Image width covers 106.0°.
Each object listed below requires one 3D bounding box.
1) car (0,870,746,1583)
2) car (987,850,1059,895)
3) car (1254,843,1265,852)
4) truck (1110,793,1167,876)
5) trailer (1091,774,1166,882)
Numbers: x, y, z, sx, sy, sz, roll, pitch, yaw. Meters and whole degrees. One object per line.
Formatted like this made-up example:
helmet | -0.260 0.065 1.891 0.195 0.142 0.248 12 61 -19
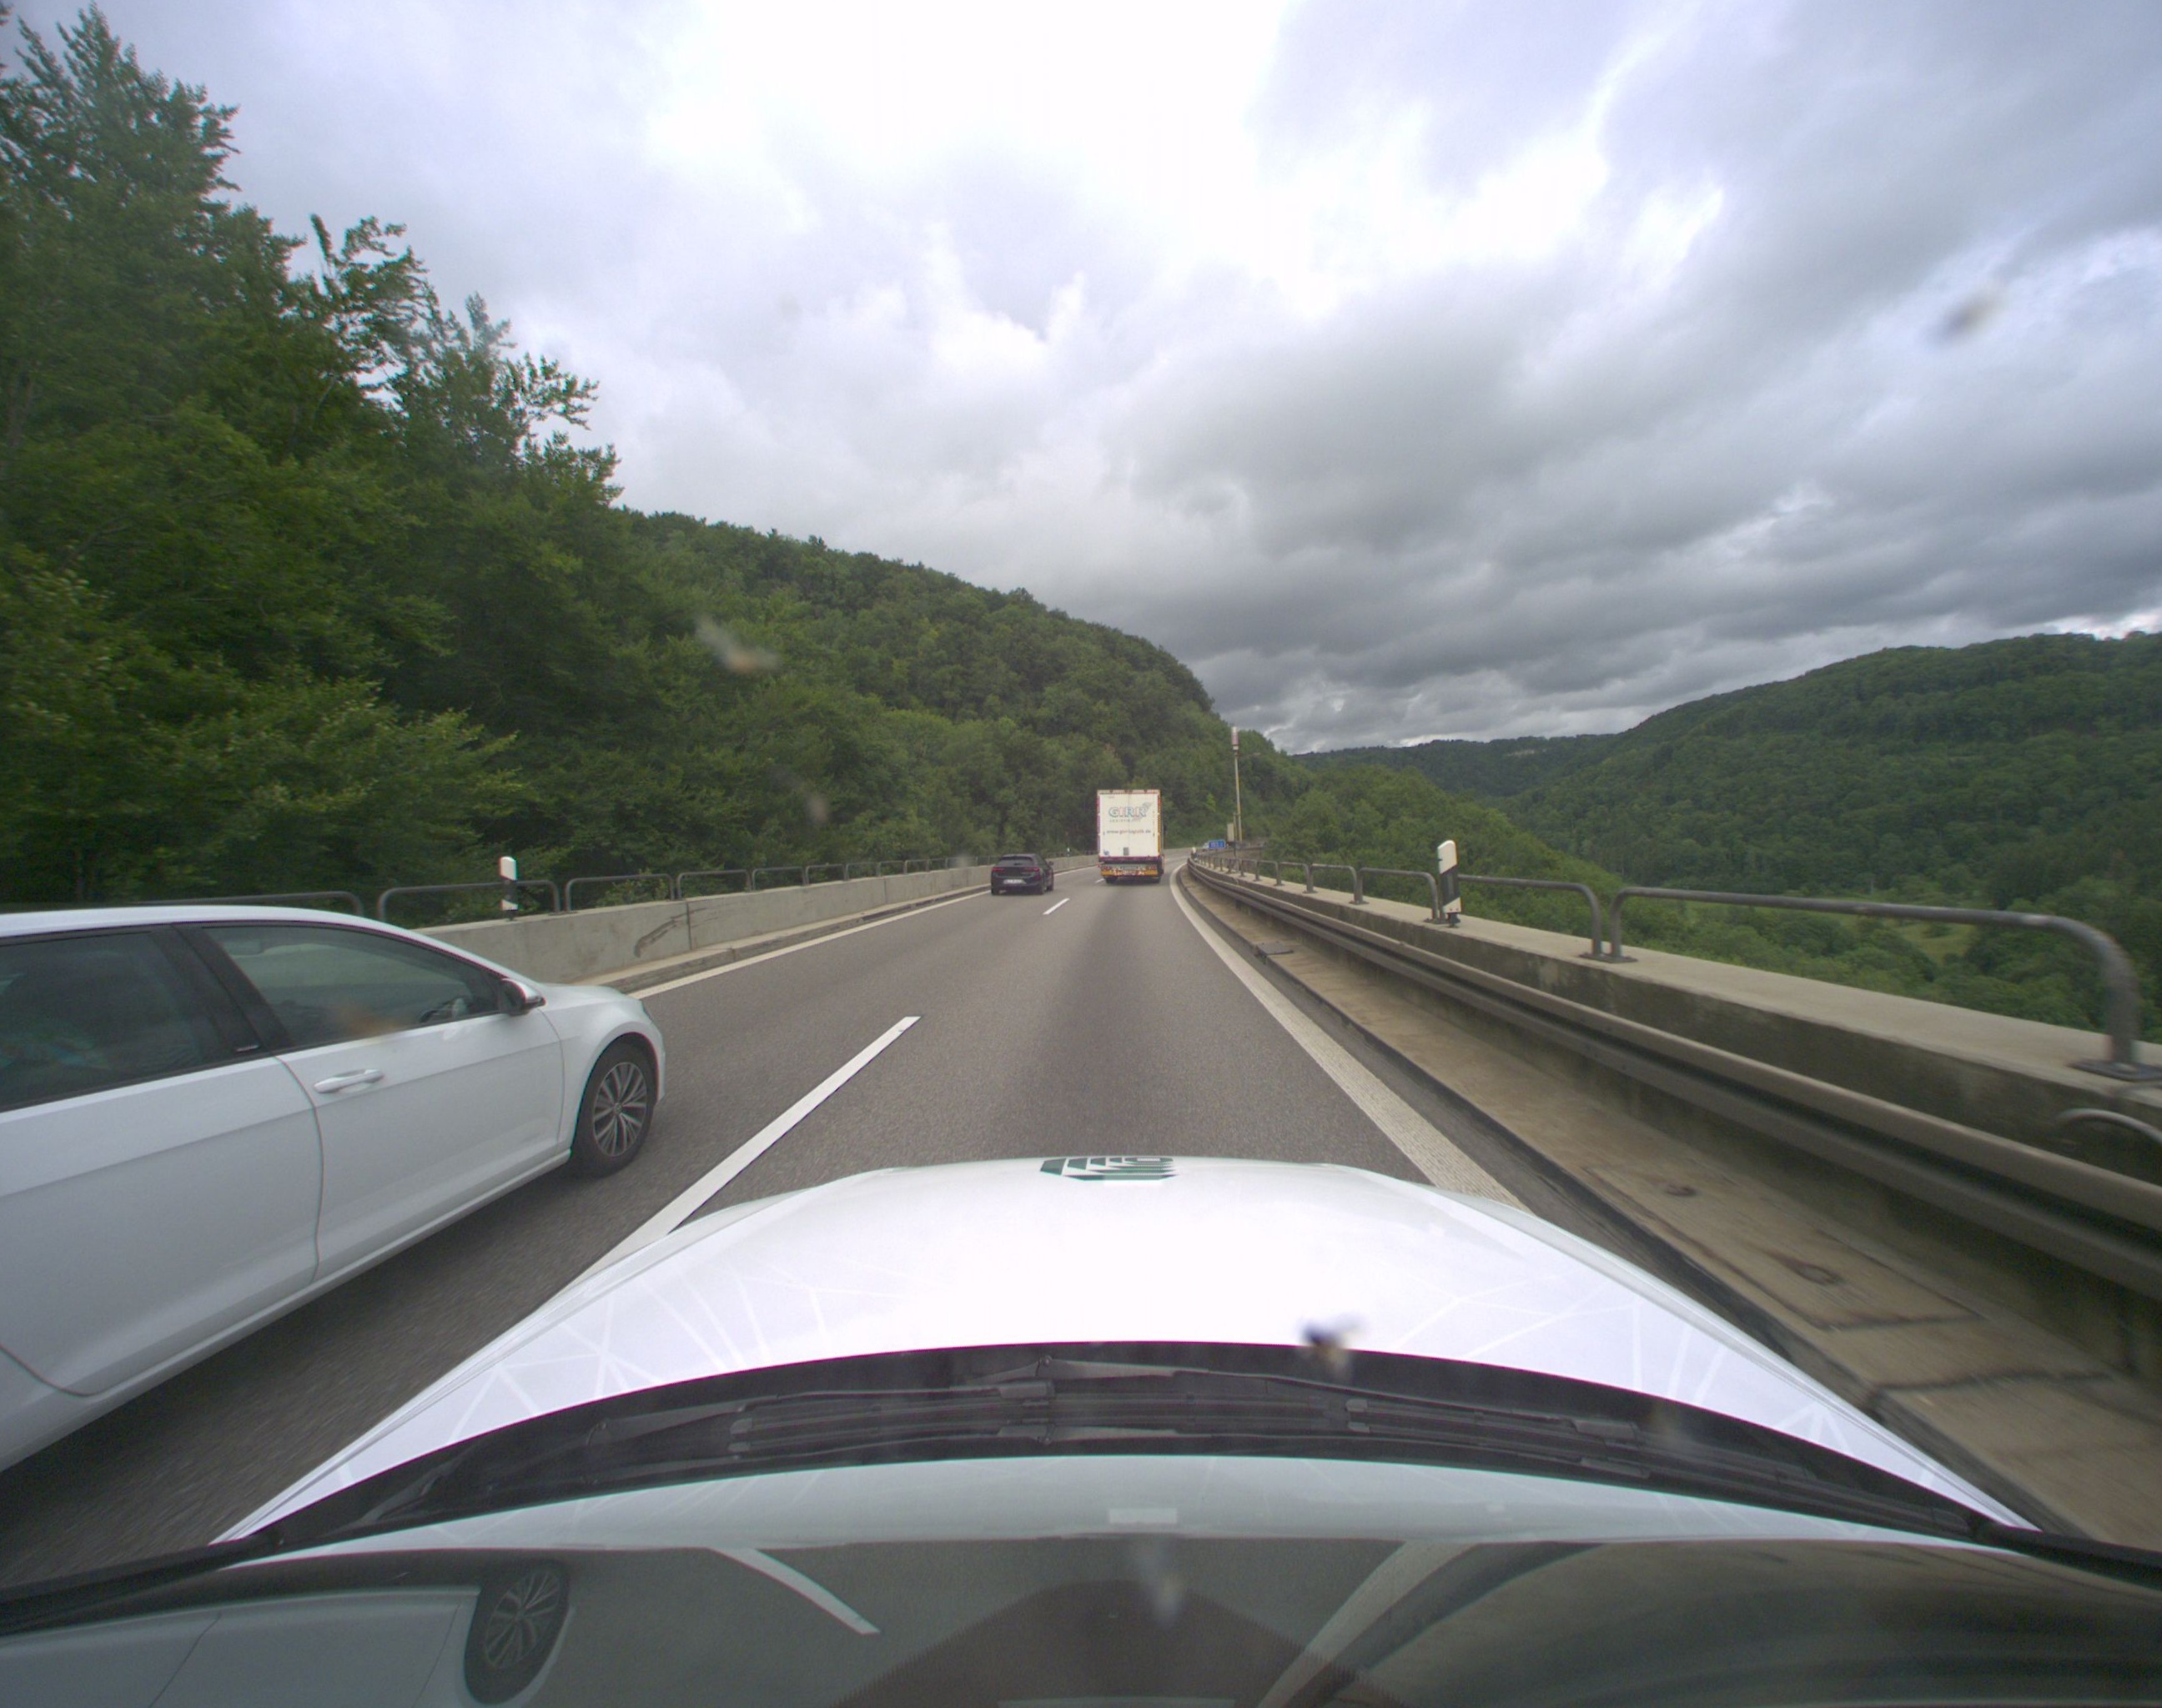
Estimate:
car | -3.135 0.808 2.836 1.837 1.482 4.630 0 -1 2
car | -1.987 0.609 29.151 1.764 1.461 4.589 -1 0 6
car | 40.729 -1.500 186.216 1.977 1.794 4.019 -1 -1 19
truck | 3.322 -1.001 45.663 2.799 4.302 6.270 -2 0 7
trailer | 2.558 -1.015 39.160 2.798 4.302 12.267 -2 0 7
